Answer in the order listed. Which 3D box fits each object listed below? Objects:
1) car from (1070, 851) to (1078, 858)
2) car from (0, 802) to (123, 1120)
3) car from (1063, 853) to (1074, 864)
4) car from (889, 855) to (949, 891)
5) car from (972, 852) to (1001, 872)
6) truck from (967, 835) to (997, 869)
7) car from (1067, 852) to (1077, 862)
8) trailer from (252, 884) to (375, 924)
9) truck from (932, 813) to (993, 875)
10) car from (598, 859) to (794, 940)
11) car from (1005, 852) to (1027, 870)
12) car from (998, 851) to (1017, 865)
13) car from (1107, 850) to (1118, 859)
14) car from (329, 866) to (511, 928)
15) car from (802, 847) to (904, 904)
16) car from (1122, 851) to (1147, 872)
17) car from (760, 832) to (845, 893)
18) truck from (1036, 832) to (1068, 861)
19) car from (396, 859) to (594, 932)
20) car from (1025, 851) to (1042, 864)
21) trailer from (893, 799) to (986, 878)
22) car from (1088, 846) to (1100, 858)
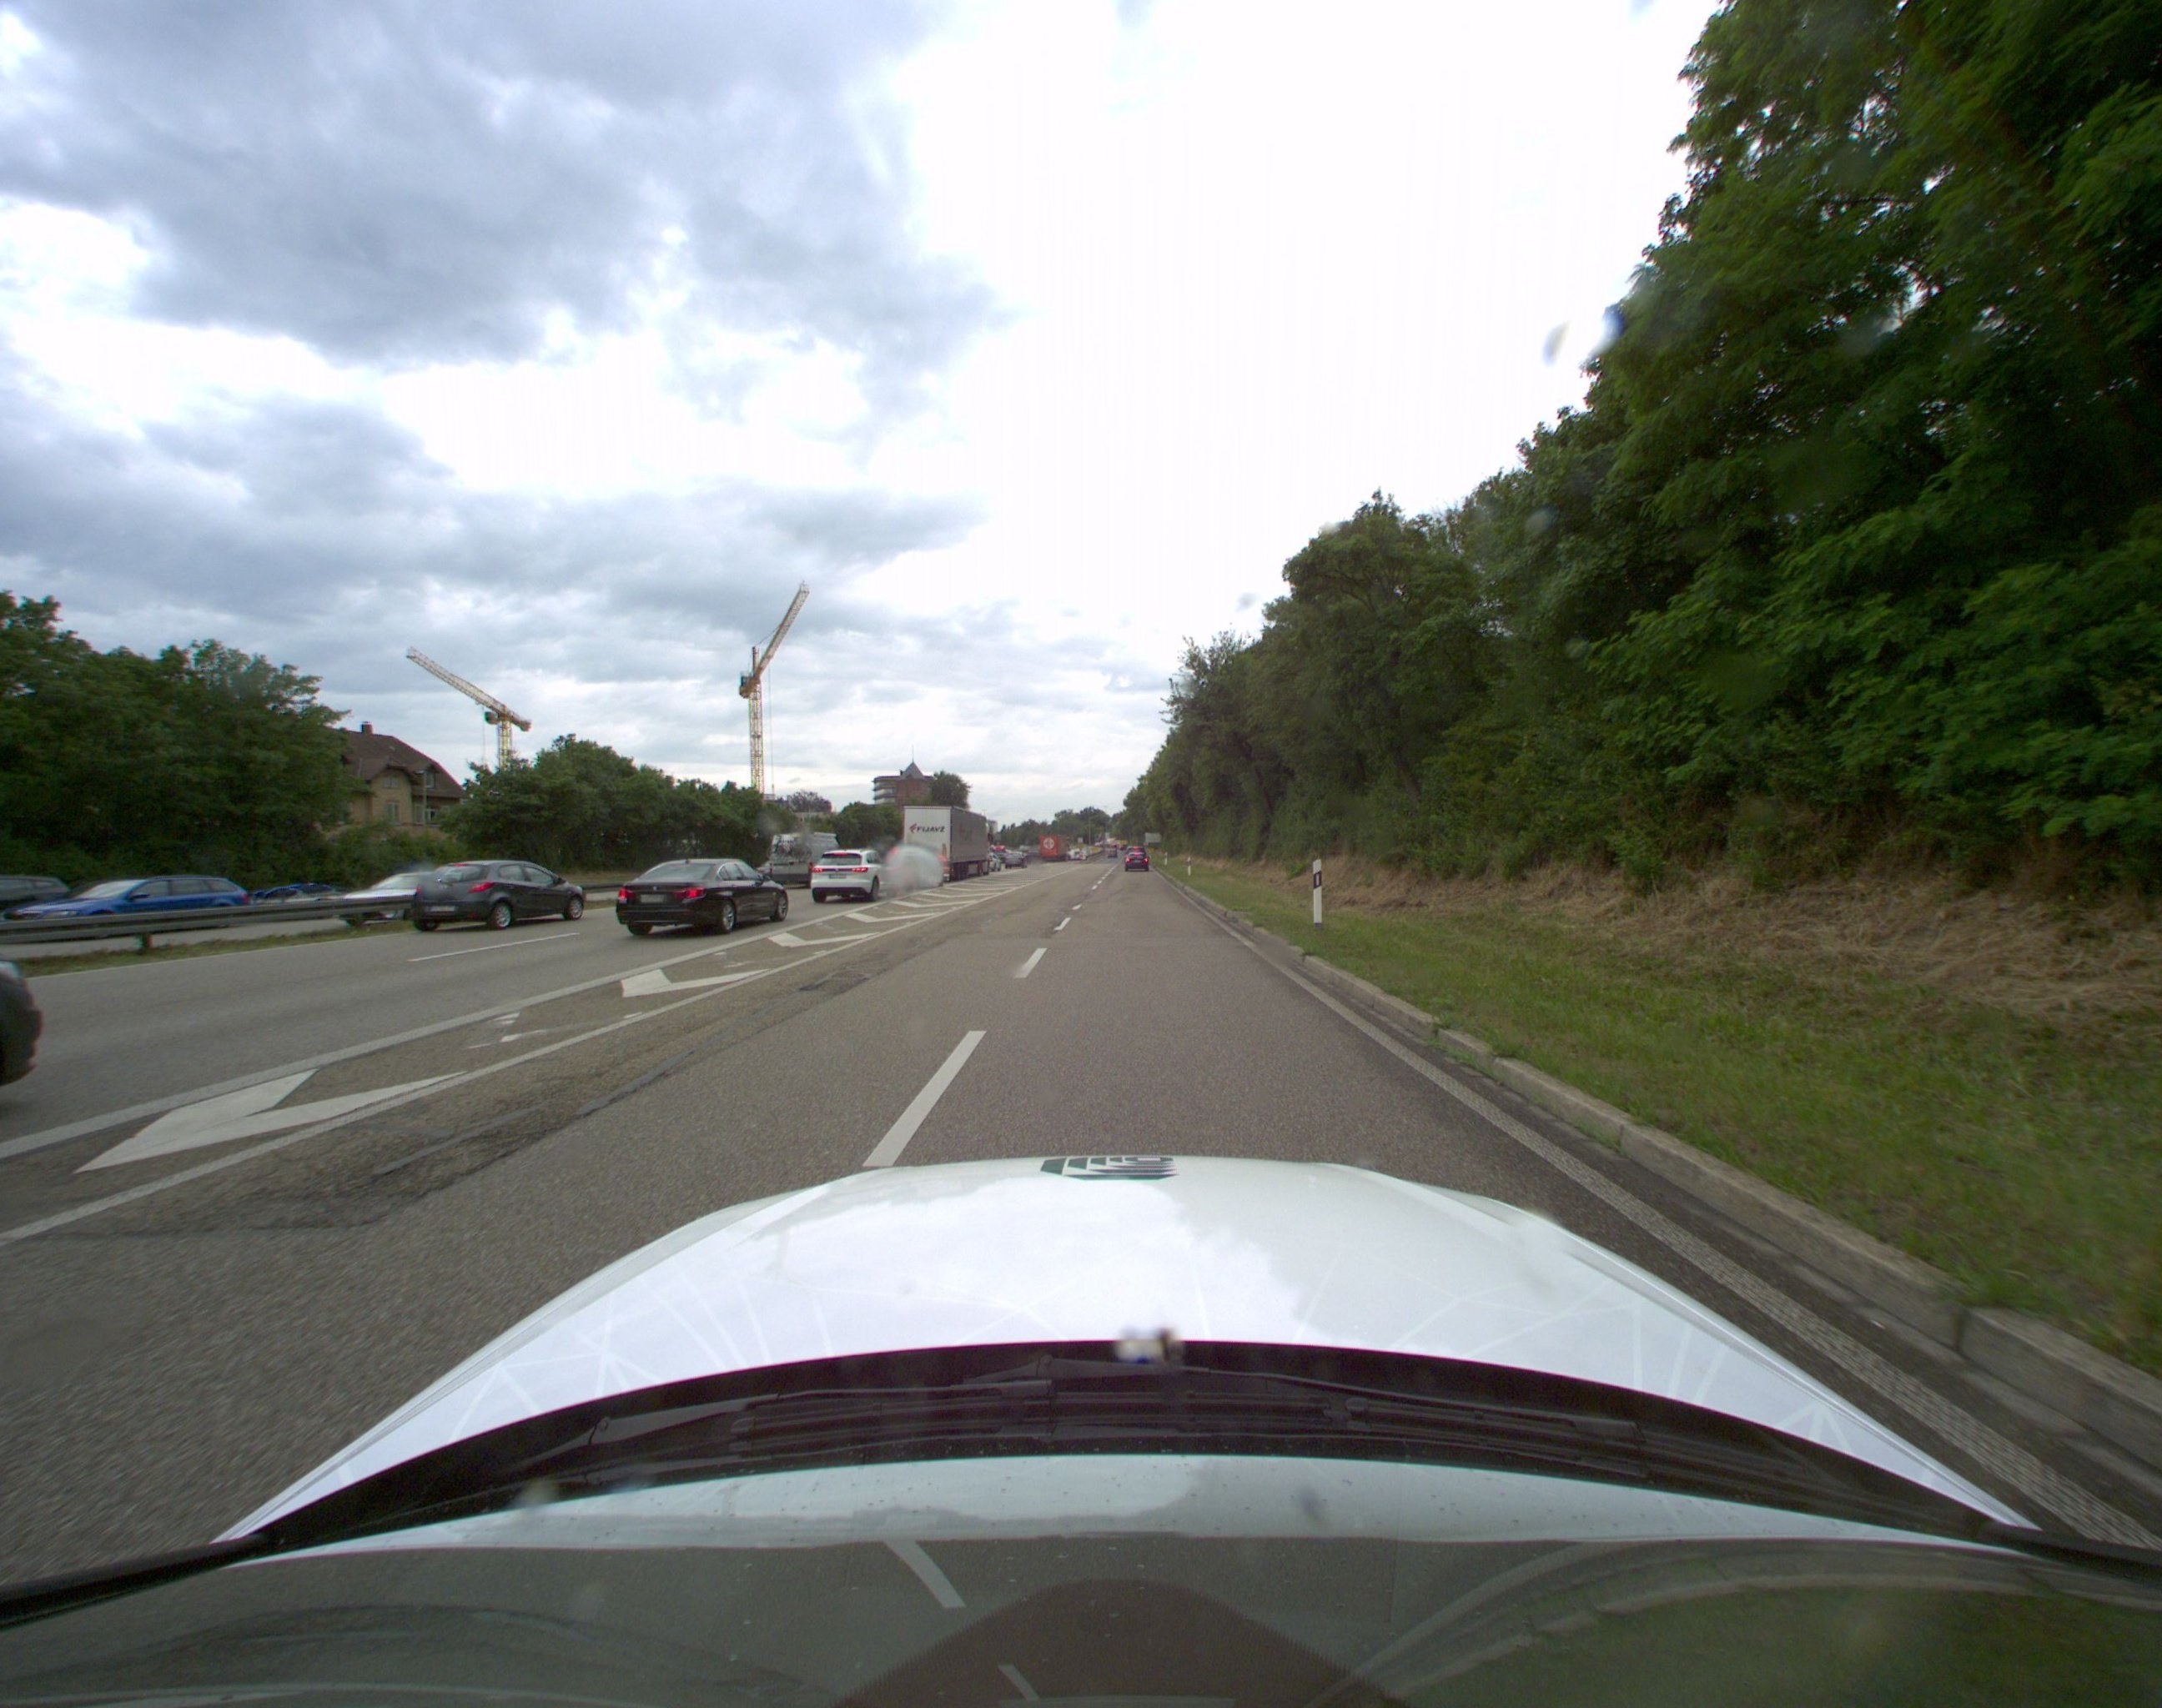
[{"bbox_3d":[-1.460,0.044,169.975,1.772,1.482,3.998,-1,0,-1],"label":"car"},{"bbox_3d":[-7.348,0.645,2.968,1.984,1.898,4.978,-1,0,-4],"label":"car"},{"bbox_3d":[-2.228,0.766,148.203,1.607,1.948,3.709,0,-1,5],"label":"car"},{"bbox_3d":[-7.154,0.792,36.351,1.758,1.478,4.090,1,0,1],"label":"car"},{"bbox_3d":[-7.712,0.672,66.777,1.793,1.604,4.259,0,-1,2],"label":"car"},{"bbox_3d":[-12.623,-0.230,104.896,2.730,4.138,10.691,0,-1,-1],"label":"truck"},{"bbox_3d":[-1.691,0.524,158.035,1.608,1.948,3.707,0,-1,3],"label":"car"},{"bbox_3d":[-23.968,1.525,25.541,1.196,1.059,2.707,-1,0,2],"label":"trailer"},{"bbox_3d":[-7.964,-0.609,55.754,3.189,3.947,7.071,0,-1,0],"label":"truck"},{"bbox_3d":[-7.792,0.840,17.108,1.841,1.460,4.829,0,-1,0],"label":"car"},{"bbox_3d":[-6.189,0.641,78.047,1.711,1.684,4.001,0,-1,2],"label":"car"},{"bbox_3d":[-9.246,0.511,102.851,1.852,1.618,4.002,0,-1,2],"label":"car"},{"bbox_3d":[5.773,0.045,150.077,1.819,1.482,4.001,-2,0,1],"label":"car"},{"bbox_3d":[-19.083,1.172,23.785,1.986,1.555,4.001,-1,0,1],"label":"car"},{"bbox_3d":[-7.521,0.645,27.408,1.949,1.695,4.867,-1,0,1],"label":"car"},{"bbox_3d":[4.130,0.562,62.664,1.817,1.482,4.005,-2,0,4],"label":"car"},{"bbox_3d":[-12.814,0.362,37.856,1.987,2.553,5.362,-1,0,0],"label":"car"},{"bbox_3d":[-4.267,-1.158,123.255,3.475,4.073,13.605,-2,0,4],"label":"truck"},{"bbox_3d":[-12.968,0.847,18.376,1.670,1.389,3.996,-1,0,-3],"label":"car"},{"bbox_3d":[-5.960,0.457,102.763,1.711,1.684,4.001,0,-1,2],"label":"car"},{"bbox_3d":[-7.969,-0.754,48.086,3.288,4.036,13.094,0,-1,0],"label":"trailer"},{"bbox_3d":[2.290,-0.294,140.077,1.944,2.013,4.000,-1,0,1],"label":"car"}]
